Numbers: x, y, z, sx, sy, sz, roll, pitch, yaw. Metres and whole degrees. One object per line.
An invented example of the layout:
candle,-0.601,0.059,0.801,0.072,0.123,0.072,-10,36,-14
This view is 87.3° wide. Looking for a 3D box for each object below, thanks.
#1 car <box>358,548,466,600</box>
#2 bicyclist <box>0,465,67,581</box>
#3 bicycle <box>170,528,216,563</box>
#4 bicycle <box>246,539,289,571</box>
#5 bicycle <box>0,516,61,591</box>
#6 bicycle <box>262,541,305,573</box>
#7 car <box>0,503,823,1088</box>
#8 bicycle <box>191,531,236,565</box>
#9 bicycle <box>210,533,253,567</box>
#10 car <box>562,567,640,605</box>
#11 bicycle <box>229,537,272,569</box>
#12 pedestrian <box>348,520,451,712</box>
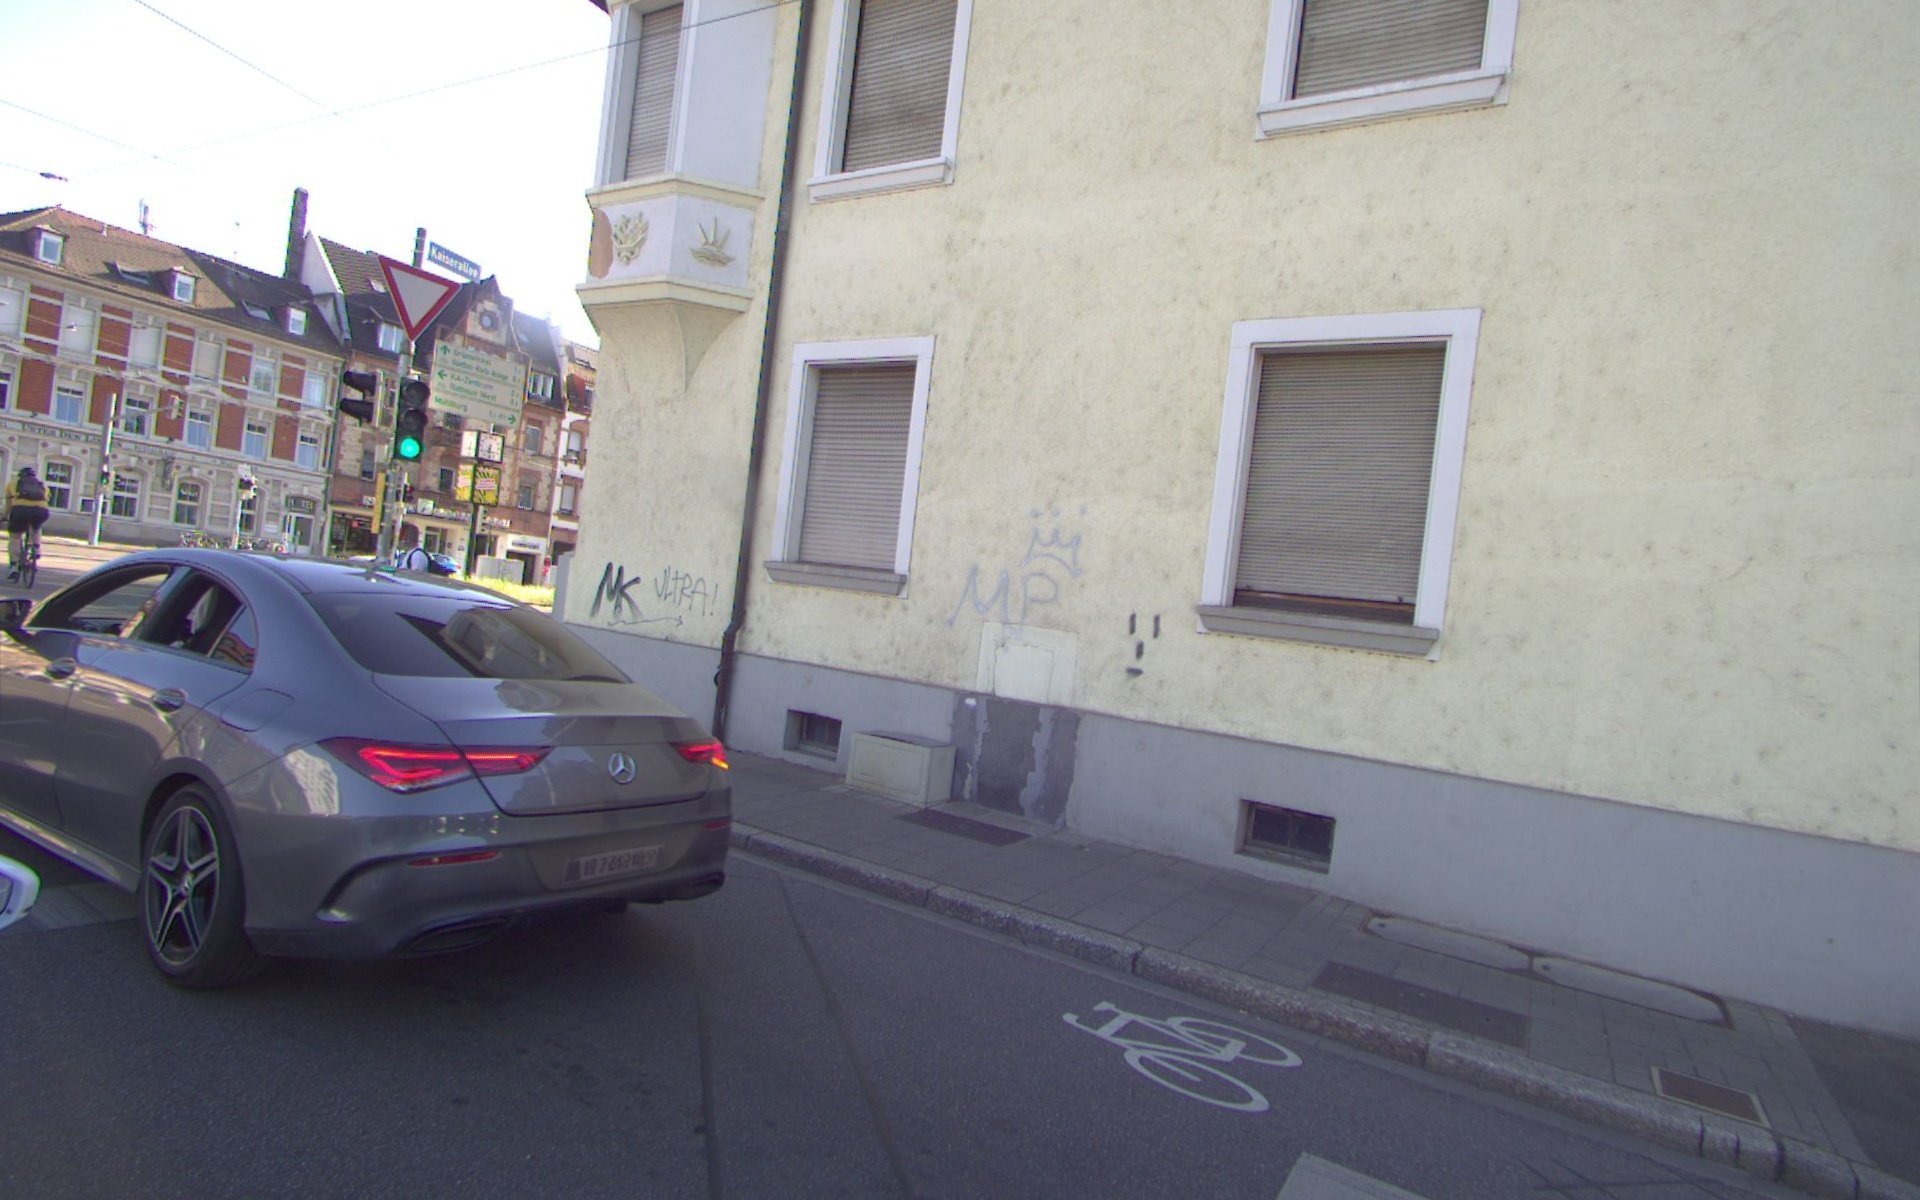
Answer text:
car,-25.490,-1.175,46.900,1.967,1.798,3.790,6,-2,31
bicyclist,-14.763,-1.210,15.886,0.803,1.682,0.873,8,-1,-41
bicycle,-34.601,-2.460,45.396,2.618,1.301,0.693,6,-1,33
bicycle,-33.044,-2.145,47.991,2.618,1.301,0.629,6,-1,33
bicycle,-14.957,-0.759,16.050,0.752,1.043,1.761,8,-2,-40
bicycle,-32.674,-2.069,48.580,2.618,1.301,0.629,6,-1,33
car,-3.013,0.469,4.659,4.419,1.436,1.910,6,-2,33
bicycle,-34.190,-2.399,46.065,2.618,1.301,0.693,6,-1,33
bicycle,-33.823,-2.329,46.689,2.618,1.301,0.629,6,-1,33
car,-23.237,-0.869,65.283,1.967,1.798,4.374,6,-2,31
bicycle,-33.410,-2.217,47.361,2.618,1.301,0.629,6,-1,33
pedestrian,-5.464,0.150,9.833,0.631,1.780,0.584,4,3,-7
